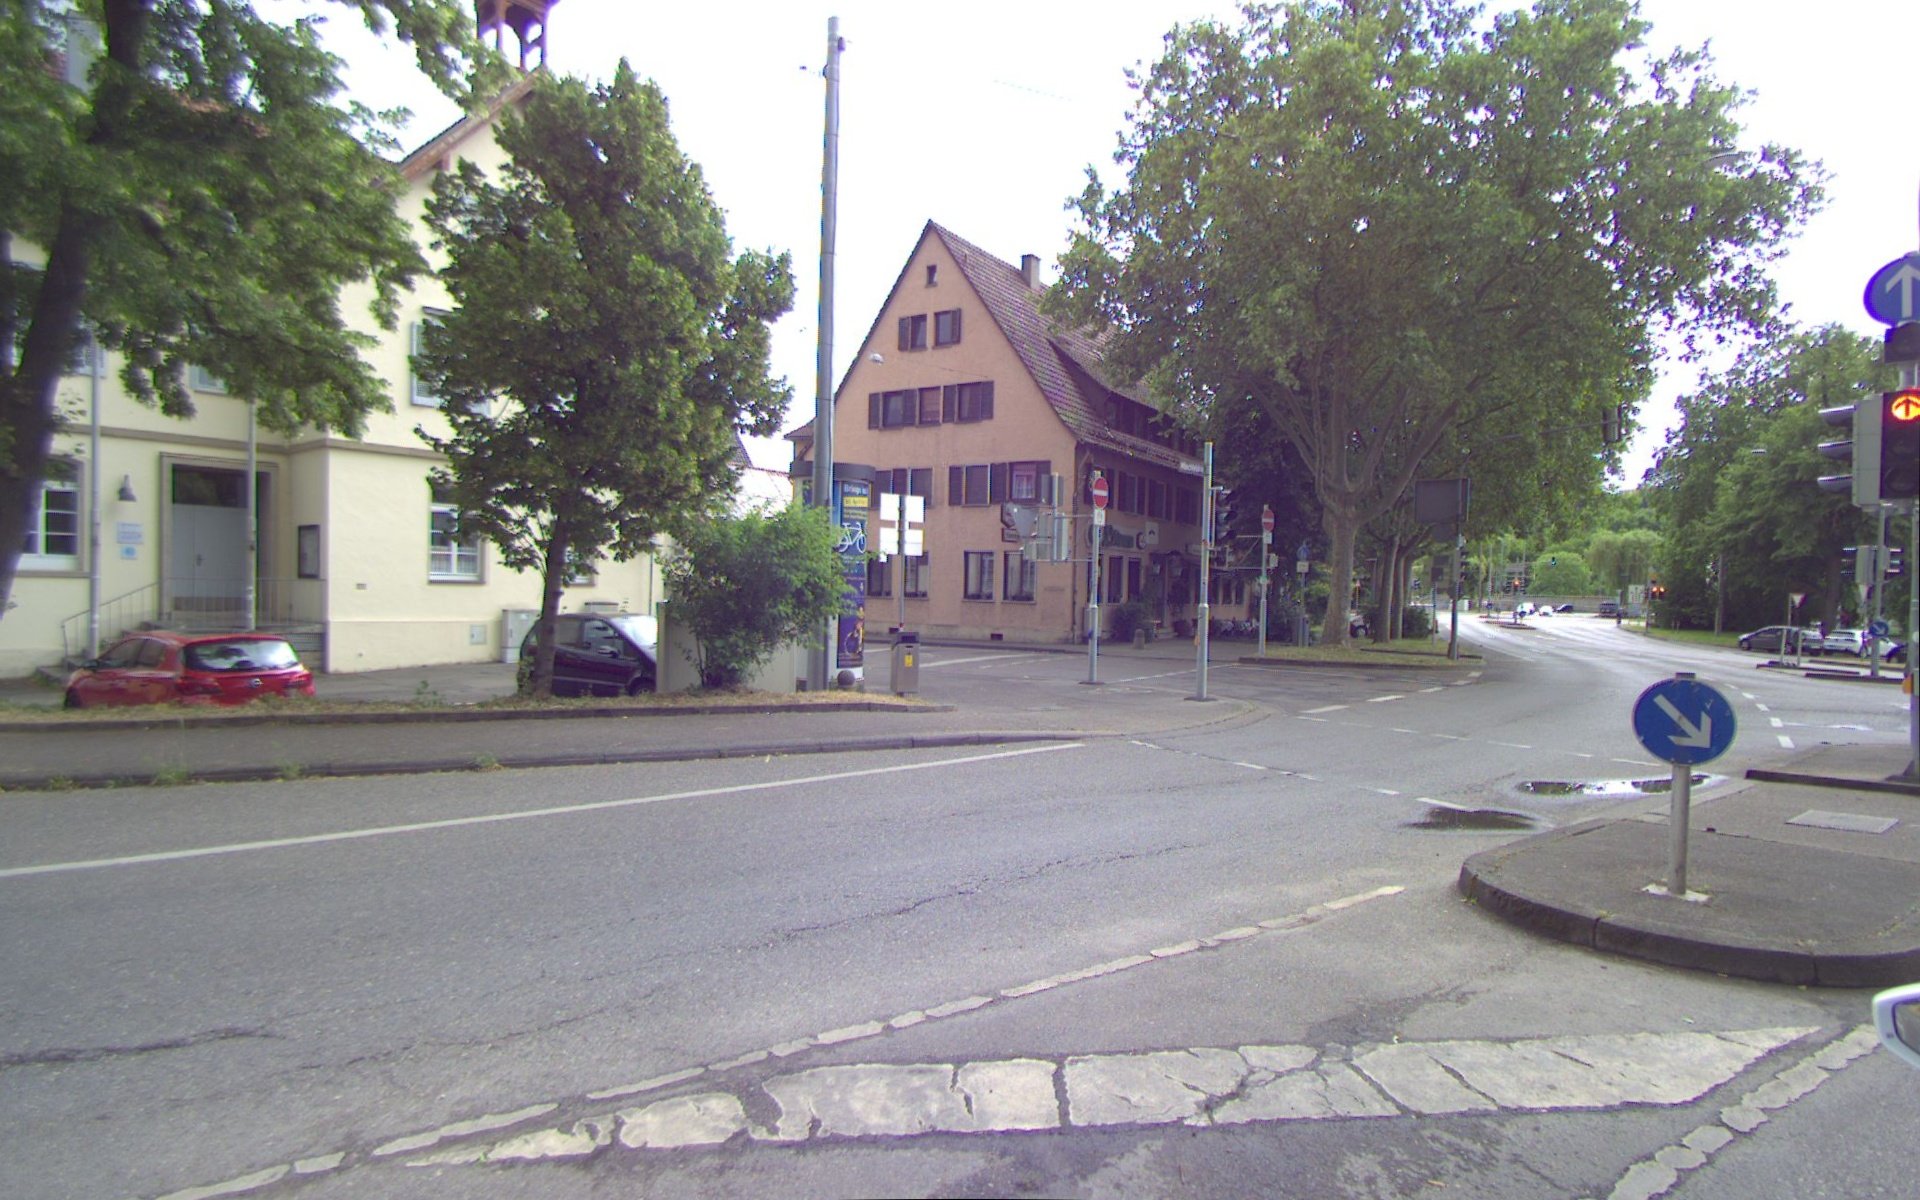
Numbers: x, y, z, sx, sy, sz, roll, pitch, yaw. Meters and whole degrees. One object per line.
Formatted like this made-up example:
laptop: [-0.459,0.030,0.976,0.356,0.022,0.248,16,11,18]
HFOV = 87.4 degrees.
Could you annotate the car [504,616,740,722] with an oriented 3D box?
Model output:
car: [-5.533,1.054,16.441,3.507,1.459,1.644,2,0,26]

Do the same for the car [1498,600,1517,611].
car: [85.258,0.845,156.509,1.553,1.506,3.337,3,0,12]

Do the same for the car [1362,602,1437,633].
car: [25.728,1.006,58.783,3.924,1.706,1.998,1,0,25]

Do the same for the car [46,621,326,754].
car: [-10.277,1.050,13.304,3.653,1.401,1.659,2,0,30]

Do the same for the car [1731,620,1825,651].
car: [43.817,1.875,53.907,1.592,1.485,3.778,2,0,-11]

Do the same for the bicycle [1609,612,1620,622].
bicycle: [67.438,1.734,103.497,0.550,0.971,2.020,2,0,45]

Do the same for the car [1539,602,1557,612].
car: [90.955,1.114,155.334,1.469,1.436,3.028,3,0,11]

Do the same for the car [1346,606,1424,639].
car: [23.996,1.250,56.707,3.924,1.706,1.998,1,0,25]

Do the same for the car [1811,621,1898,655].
car: [47.461,2.036,53.326,3.696,1.662,1.859,2,0,-19]

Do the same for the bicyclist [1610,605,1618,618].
bicyclist: [67.356,1.184,103.408,0.534,1.359,0.710,2,0,44]

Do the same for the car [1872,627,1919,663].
car: [39.446,1.858,40.765,1.746,1.370,3.326,2,0,-2]
